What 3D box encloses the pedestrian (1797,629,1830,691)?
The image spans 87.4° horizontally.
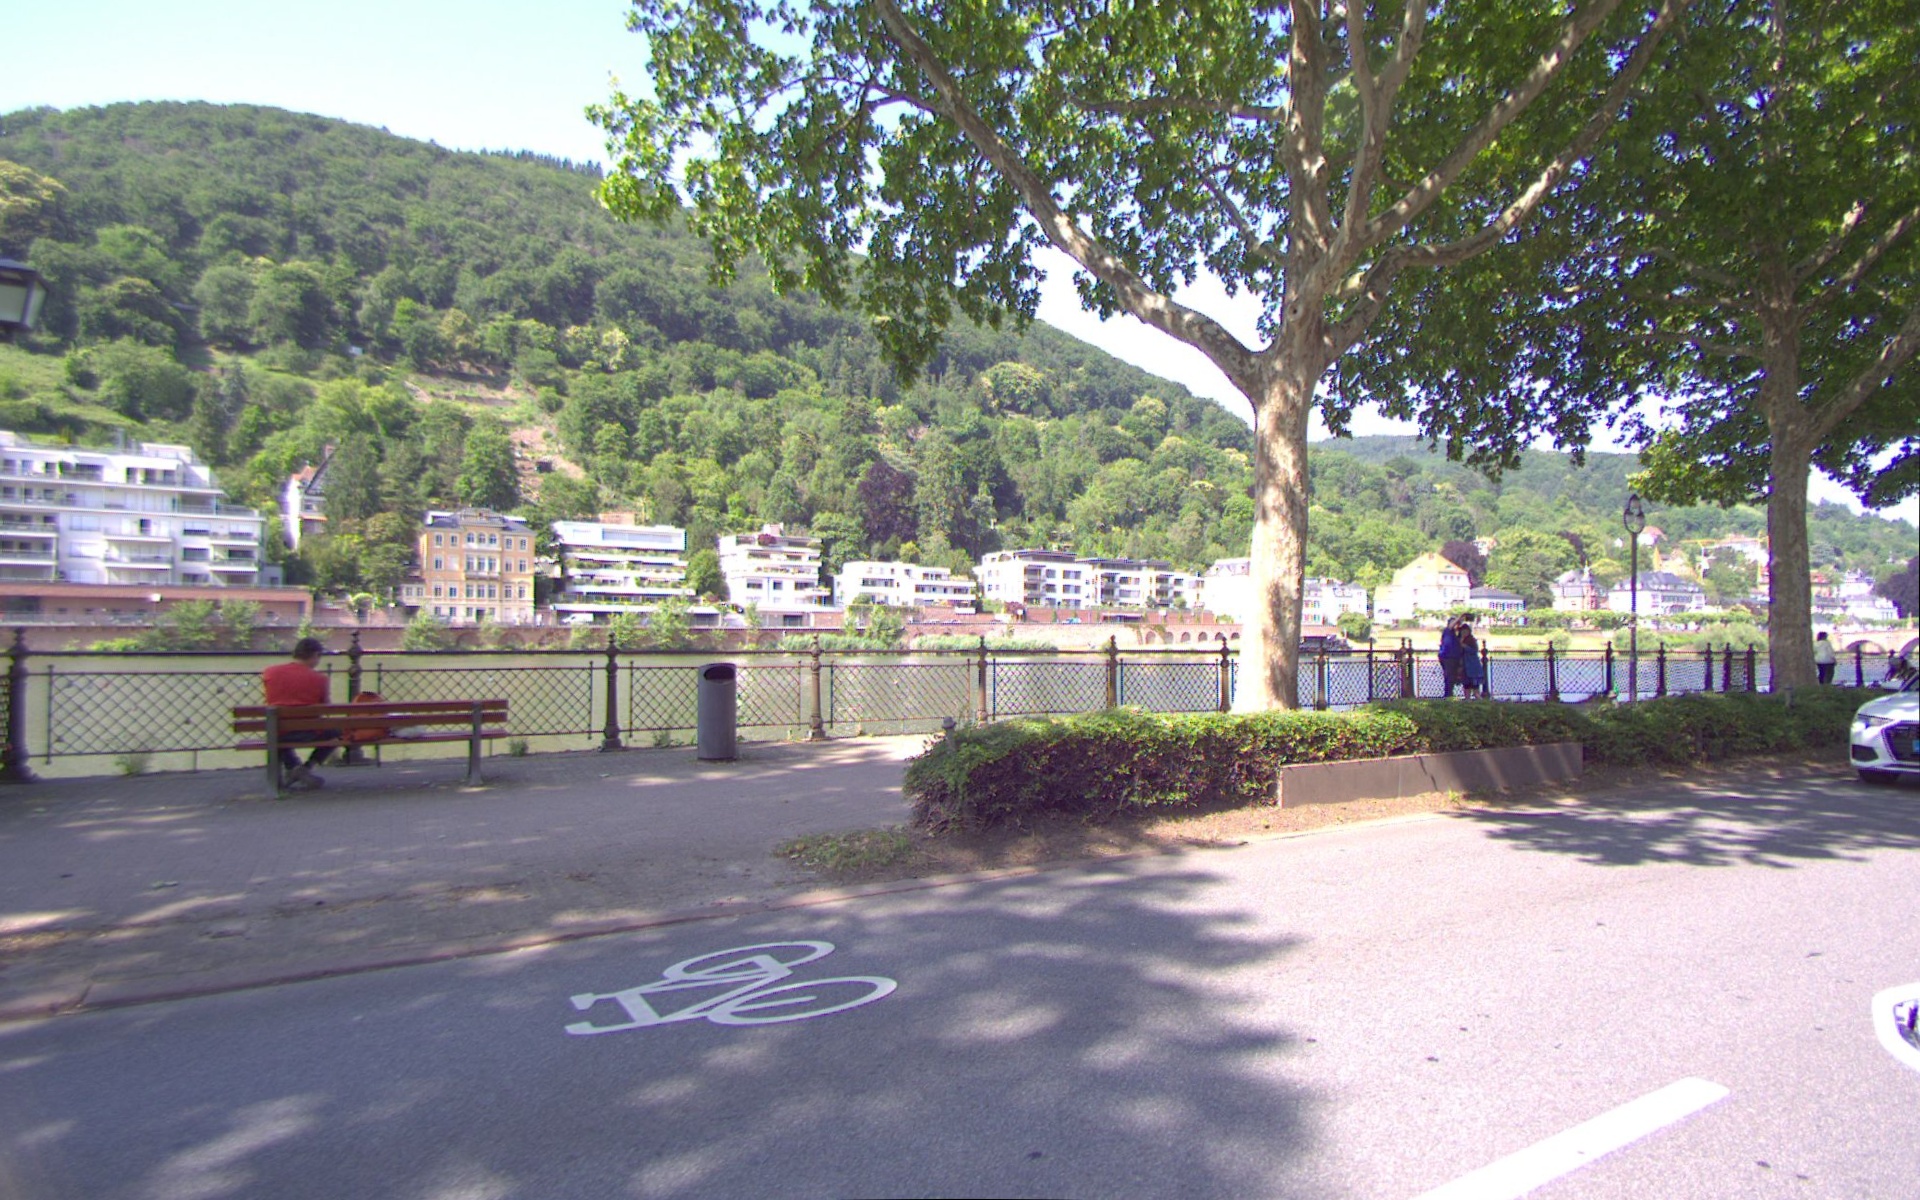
[{"bbox_3d":[24.551,1.721,28.900,0.399,1.733,0.581,2,0,-32],"label":"pedestrian"}]

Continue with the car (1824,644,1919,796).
[{"bbox_3d":[11.364,1.228,10.850,4.483,1.476,1.761,2,-4,-32],"label":"car"}]

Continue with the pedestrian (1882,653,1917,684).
[{"bbox_3d":[28.209,2.037,30.166,0.697,0.895,0.604,1,-1,-31],"label":"pedestrian"}]

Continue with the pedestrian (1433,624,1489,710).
[{"bbox_3d":[9.746,1.294,19.546,0.696,1.624,0.701,2,-2,-28],"label":"pedestrian"}]

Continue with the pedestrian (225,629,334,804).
[{"bbox_3d":[-5.561,0.924,8.244,0.649,1.325,0.699,2,0,-29],"label":"pedestrian"}]

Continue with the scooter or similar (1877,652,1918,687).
[{"bbox_3d":[28.079,2.079,30.098,1.001,0.981,0.628,2,0,-31],"label":"scooter or similar"}]

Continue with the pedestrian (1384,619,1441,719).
[{"bbox_3d":[8.464,1.275,18.798,0.696,1.820,0.701,2,-2,-28],"label":"pedestrian"}]
